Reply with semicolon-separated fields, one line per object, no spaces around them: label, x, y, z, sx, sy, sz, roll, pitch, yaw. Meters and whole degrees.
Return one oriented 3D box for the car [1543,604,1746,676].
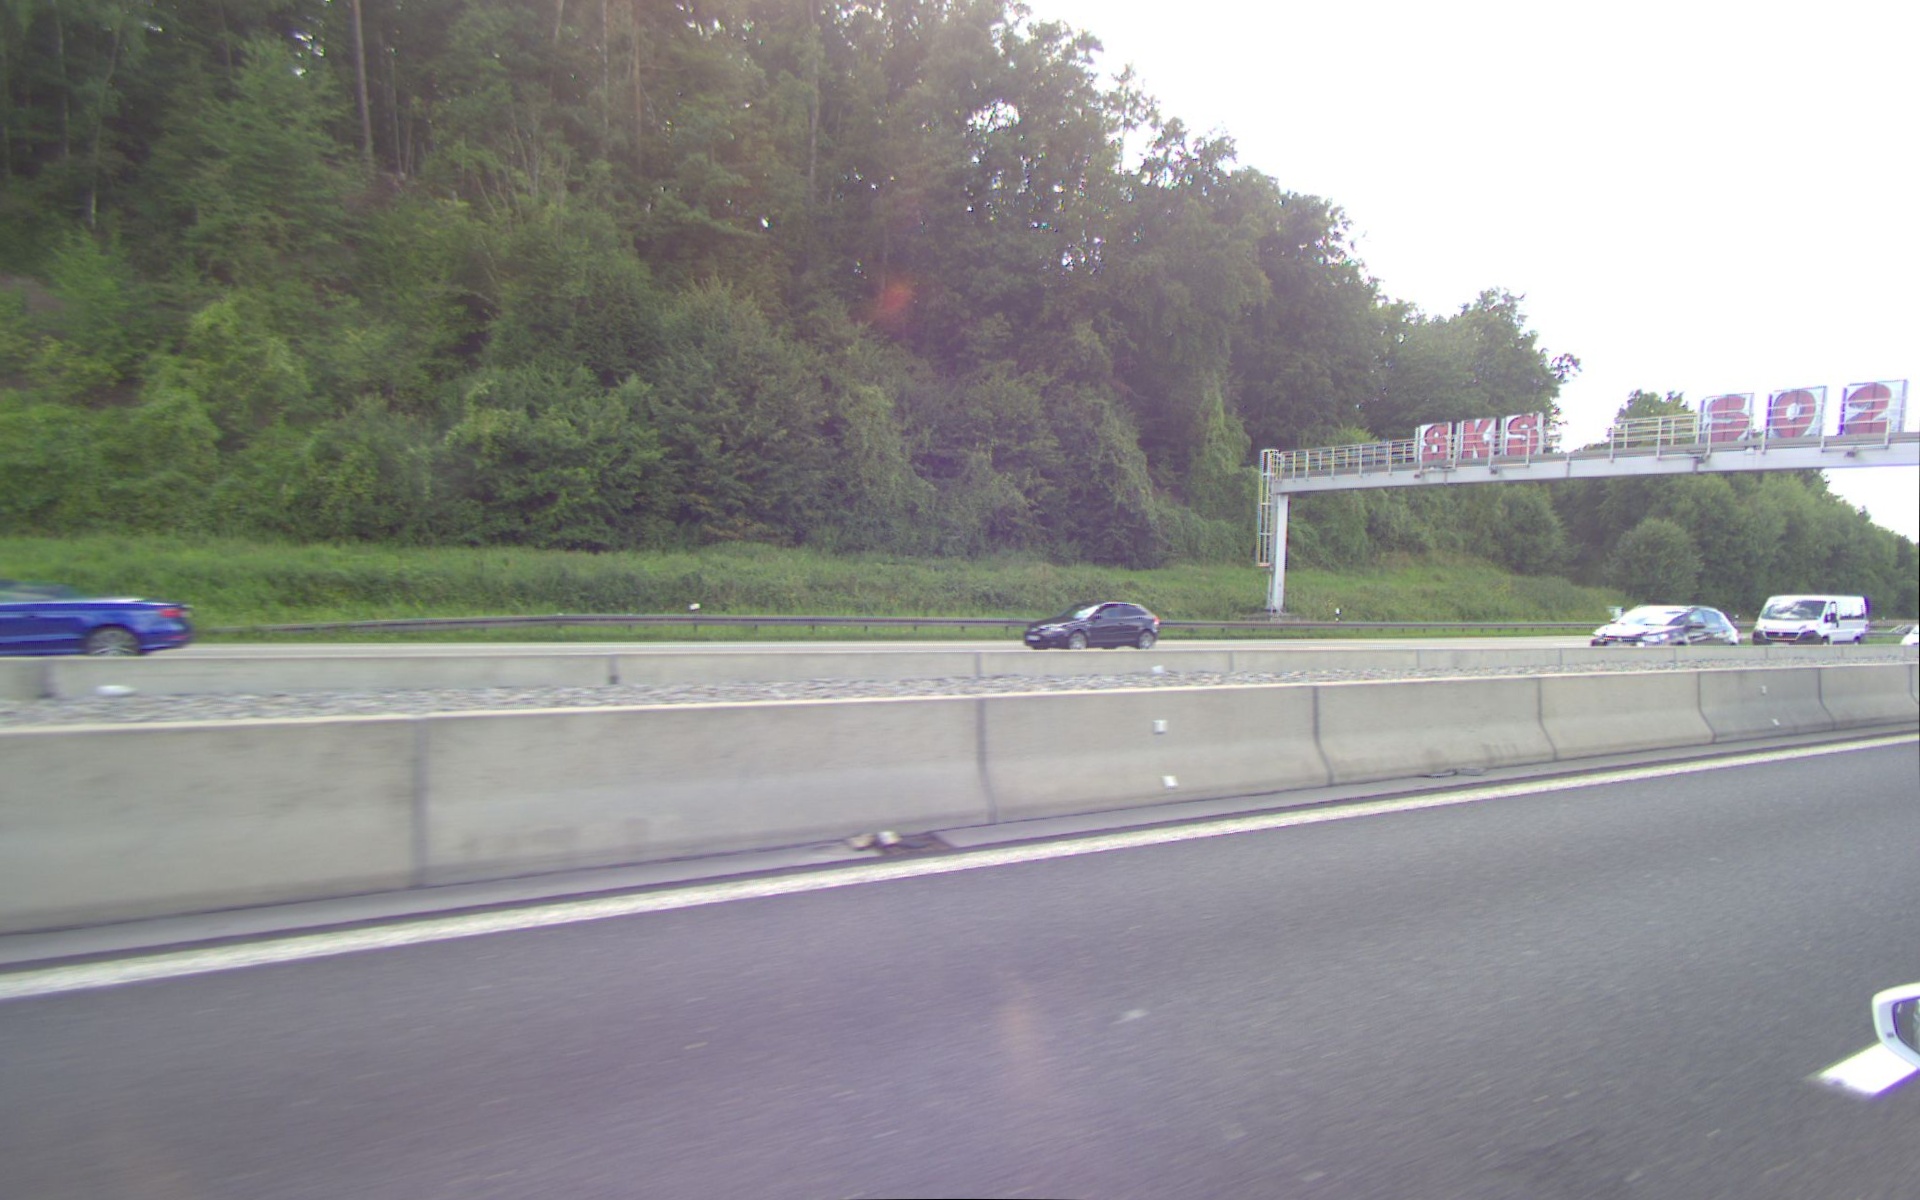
car;16.566;0.931;24.238;5.223;1.556;1.984;1;0;-30

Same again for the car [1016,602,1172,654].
car;3.765;0.775;28.027;4.143;1.329;1.811;1;0;-34

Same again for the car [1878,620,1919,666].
car;32.946;1.446;34.112;3.844;1.469;1.557;1;0;-31

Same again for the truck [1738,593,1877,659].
truck;31.268;0.935;37.035;5.506;2.255;2.173;1;0;-30

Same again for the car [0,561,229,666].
car;-14.617;0.197;16.117;4.508;1.595;1.794;1;0;-32
